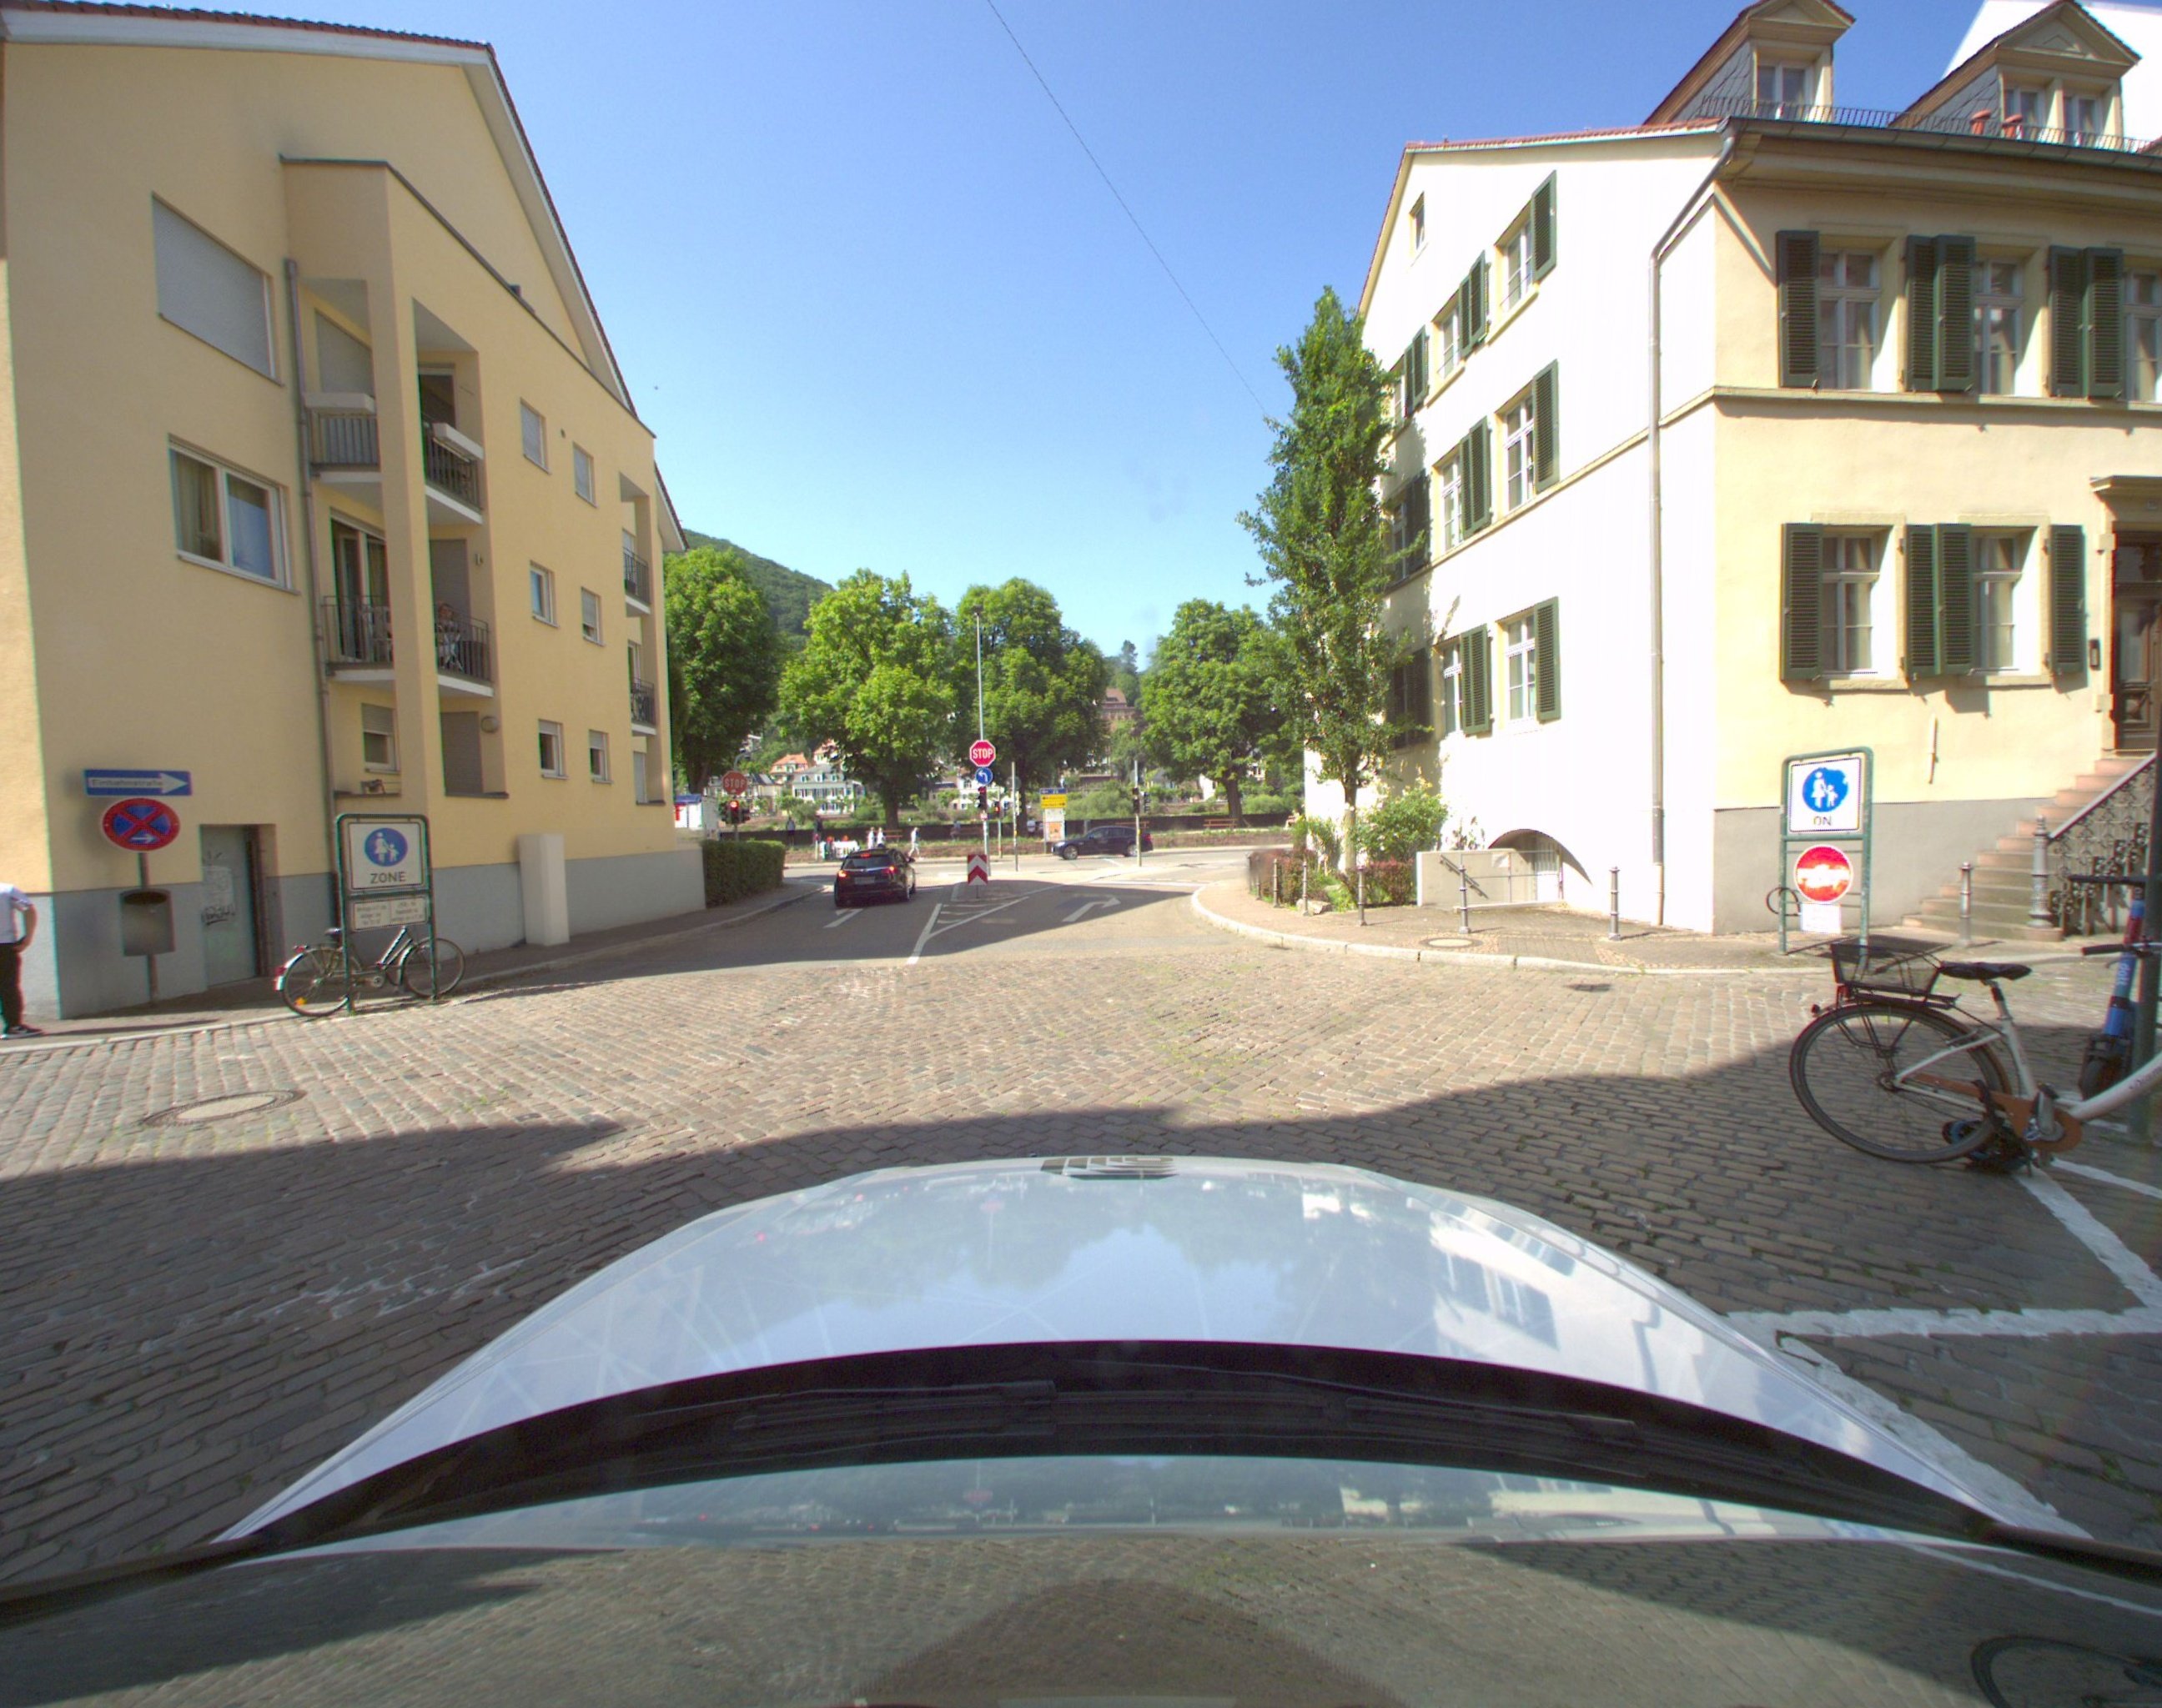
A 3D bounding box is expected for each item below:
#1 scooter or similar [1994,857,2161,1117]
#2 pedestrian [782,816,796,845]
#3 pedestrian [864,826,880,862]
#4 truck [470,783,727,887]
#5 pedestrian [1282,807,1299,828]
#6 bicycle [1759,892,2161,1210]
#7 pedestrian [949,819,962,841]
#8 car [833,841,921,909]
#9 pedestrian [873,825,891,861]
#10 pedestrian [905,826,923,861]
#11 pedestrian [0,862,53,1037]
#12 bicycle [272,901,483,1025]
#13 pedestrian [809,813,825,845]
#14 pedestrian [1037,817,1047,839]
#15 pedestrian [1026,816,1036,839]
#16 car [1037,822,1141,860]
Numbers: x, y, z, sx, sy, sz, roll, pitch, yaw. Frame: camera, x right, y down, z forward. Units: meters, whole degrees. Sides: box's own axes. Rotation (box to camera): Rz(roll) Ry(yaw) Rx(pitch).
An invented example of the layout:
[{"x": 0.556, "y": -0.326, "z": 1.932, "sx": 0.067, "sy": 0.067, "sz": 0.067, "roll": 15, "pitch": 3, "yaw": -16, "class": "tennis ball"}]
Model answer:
[{"x": 5.649, "y": 0.668, "z": 4.465, "sx": 1.190, "sy": 1.235, "sz": 0.439, "roll": -3, "pitch": 2, "yaw": -19, "class": "scooter or similar"}, {"x": -17.975, "y": -1.448, "z": 50.128, "sx": 0.709, "sy": 1.731, "sz": 0.752, "roll": -2, "pitch": 1, "yaw": -17, "class": "pedestrian"}, {"x": -10.590, "y": -0.510, "z": 41.304, "sx": 0.577, "sy": 1.801, "sz": 0.704, "roll": -4, "pitch": 1, "yaw": -4, "class": "pedestrian"}, {"x": -21.516, "y": -0.888, "z": 36.931, "sx": 9.382, "sy": 4.047, "sz": 2.853, "roll": -3, "pitch": 1, "yaw": -9, "class": "truck"}, {"x": 12.656, "y": -2.178, "z": 49.198, "sx": 0.796, "sy": 1.211, "sz": 0.714, "roll": 0, "pitch": -1, "yaw": -4, "class": "pedestrian"}, {"x": 4.097, "y": 0.776, "z": 3.475, "sx": 0.508, "sy": 1.146, "sz": 1.772, "roll": -4, "pitch": 2, "yaw": -41, "class": "bicycle"}, {"x": -7.121, "y": -1.370, "z": 46.157, "sx": 0.643, "sy": 1.228, "sz": 0.411, "roll": -3, "pitch": 0, "yaw": -20, "class": "pedestrian"}, {"x": -5.487, "y": 0.476, "z": 22.452, "sx": 1.713, "sy": 1.461, "sz": 4.713, "roll": -4, "pitch": 2, "yaw": -7, "class": "car"}, {"x": -10.402, "y": -0.578, "z": 42.530, "sx": 0.720, "sy": 1.801, "sz": 0.633, "roll": -3, "pitch": 1, "yaw": -4, "class": "pedestrian"}, {"x": -8.691, "y": -0.570, "z": 42.379, "sx": 0.686, "sy": 1.769, "sz": 0.717, "roll": -3, "pitch": 1, "yaw": -1, "class": "pedestrian"}, {"x": -10.269, "y": 0.895, "z": 7.665, "sx": 0.486, "sy": 1.618, "sz": 0.661, "roll": -1, "pitch": 1, "yaw": 41, "class": "pedestrian"}, {"x": -7.864, "y": 1.168, "z": 9.238, "sx": 0.388, "sy": 1.079, "sz": 1.916, "roll": -2, "pitch": 2, "yaw": 12, "class": "bicycle"}, {"x": -15.505, "y": -1.441, "z": 47.867, "sx": 0.766, "sy": 1.857, "sz": 0.750, "roll": -2, "pitch": 1, "yaw": -25, "class": "pedestrian"}, {"x": -2.268, "y": -1.491, "z": 47.245, "sx": 0.552, "sy": 1.228, "sz": 0.984, "roll": 0, "pitch": -1, "yaw": -7, "class": "pedestrian"}, {"x": -2.878, "y": -1.518, "z": 46.696, "sx": 0.552, "sy": 1.279, "sz": 0.703, "roll": 0, "pitch": -1, "yaw": -5, "class": "pedestrian"}, {"x": 0.349, "y": -0.626, "z": 39.811, "sx": 4.761, "sy": 1.517, "sz": 1.901, "roll": -4, "pitch": 1, "yaw": -9, "class": "car"}]
